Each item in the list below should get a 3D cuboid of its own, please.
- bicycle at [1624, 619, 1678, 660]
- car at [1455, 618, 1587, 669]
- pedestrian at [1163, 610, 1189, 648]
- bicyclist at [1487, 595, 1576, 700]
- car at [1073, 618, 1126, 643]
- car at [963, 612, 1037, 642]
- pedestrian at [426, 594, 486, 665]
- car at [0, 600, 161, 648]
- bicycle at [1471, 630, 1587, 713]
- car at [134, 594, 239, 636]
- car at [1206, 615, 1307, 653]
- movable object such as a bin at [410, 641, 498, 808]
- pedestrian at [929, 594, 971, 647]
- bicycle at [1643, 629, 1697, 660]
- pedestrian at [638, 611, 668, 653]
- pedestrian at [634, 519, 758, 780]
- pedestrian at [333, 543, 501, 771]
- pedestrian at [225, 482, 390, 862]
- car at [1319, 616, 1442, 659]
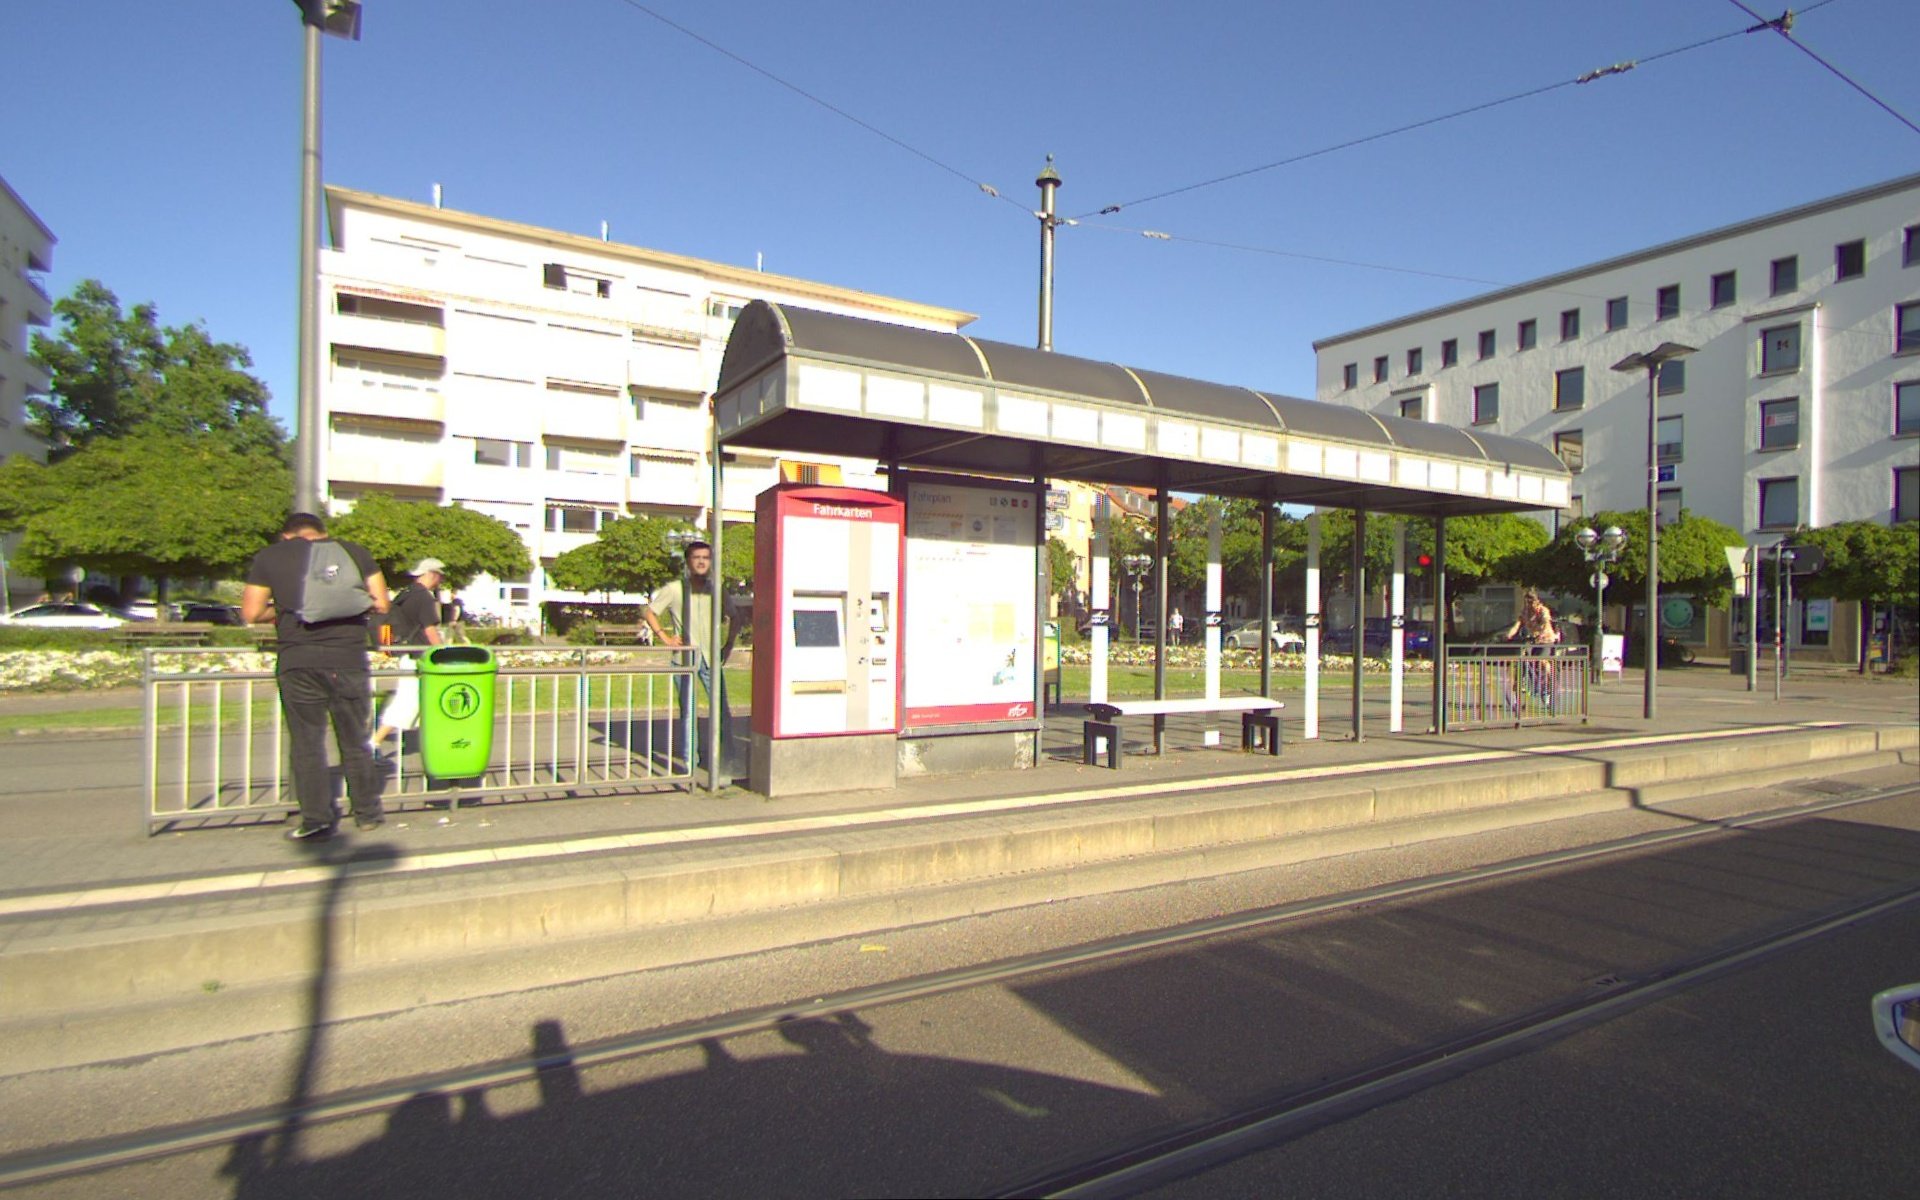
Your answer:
[{"bbox_3d":[27.865,1.600,40.493,2.585,1.628,0.616,1,-1,-26],"label":"bicycle"},{"bbox_3d":[21.048,1.597,37.830,1.804,1.728,3.968,1,-1,-30],"label":"car"},{"bbox_3d":[10.535,1.395,48.949,0.856,1.841,0.944,1,0,-19],"label":"pedestrian"},{"bbox_3d":[8.397,0.676,14.757,0.868,1.475,0.822,2,0,-36],"label":"bicyclist"},{"bbox_3d":[9.351,2.030,67.078,1.887,1.514,4.343,2,0,31],"label":"car"},{"bbox_3d":[1.959,1.328,49.354,3.271,1.372,1.638,1,-1,-29],"label":"car"},{"bbox_3d":[-13.208,0.765,26.354,1.157,1.811,1.079,1,0,-13],"label":"pedestrian"},{"bbox_3d":[-25.599,0.686,29.009,3.672,1.318,1.984,1,-1,-30],"label":"car"},{"bbox_3d":[8.374,1.017,14.748,1.958,1.128,0.723,2,0,-36],"label":"bicycle"},{"bbox_3d":[-28.561,0.566,37.179,2.899,1.506,1.407,1,-1,-30],"label":"car"},{"bbox_3d":[14.077,1.587,47.907,1.835,1.628,4.581,1,-1,-31],"label":"car"},{"bbox_3d":[-2.793,0.669,5.553,0.411,0.871,0.335,1,-1,-27],"label":"movable object such as a bin"},{"bbox_3d":[-0.396,0.786,39.344,1.219,2.040,1.214,1,-1,-30],"label":"pedestrian"},{"bbox_3d":[28.191,1.753,39.849,2.586,1.206,0.615,1,-1,-27],"label":"bicycle"},{"bbox_3d":[-10.278,1.054,33.592,0.673,1.378,1.042,1,-1,-34],"label":"pedestrian"},{"bbox_3d":[-1.941,0.360,7.365,0.760,1.797,0.613,1,-3,-28],"label":"pedestrian"},{"bbox_3d":[-4.425,0.447,8.189,0.968,1.702,0.983,1,-2,-44],"label":"pedestrian"},{"bbox_3d":[-3.213,0.341,4.999,0.599,1.740,0.546,1,-3,-28],"label":"pedestrian"},{"bbox_3d":[17.847,1.568,42.819,1.978,1.684,4.581,1,-1,-31],"label":"car"}]
